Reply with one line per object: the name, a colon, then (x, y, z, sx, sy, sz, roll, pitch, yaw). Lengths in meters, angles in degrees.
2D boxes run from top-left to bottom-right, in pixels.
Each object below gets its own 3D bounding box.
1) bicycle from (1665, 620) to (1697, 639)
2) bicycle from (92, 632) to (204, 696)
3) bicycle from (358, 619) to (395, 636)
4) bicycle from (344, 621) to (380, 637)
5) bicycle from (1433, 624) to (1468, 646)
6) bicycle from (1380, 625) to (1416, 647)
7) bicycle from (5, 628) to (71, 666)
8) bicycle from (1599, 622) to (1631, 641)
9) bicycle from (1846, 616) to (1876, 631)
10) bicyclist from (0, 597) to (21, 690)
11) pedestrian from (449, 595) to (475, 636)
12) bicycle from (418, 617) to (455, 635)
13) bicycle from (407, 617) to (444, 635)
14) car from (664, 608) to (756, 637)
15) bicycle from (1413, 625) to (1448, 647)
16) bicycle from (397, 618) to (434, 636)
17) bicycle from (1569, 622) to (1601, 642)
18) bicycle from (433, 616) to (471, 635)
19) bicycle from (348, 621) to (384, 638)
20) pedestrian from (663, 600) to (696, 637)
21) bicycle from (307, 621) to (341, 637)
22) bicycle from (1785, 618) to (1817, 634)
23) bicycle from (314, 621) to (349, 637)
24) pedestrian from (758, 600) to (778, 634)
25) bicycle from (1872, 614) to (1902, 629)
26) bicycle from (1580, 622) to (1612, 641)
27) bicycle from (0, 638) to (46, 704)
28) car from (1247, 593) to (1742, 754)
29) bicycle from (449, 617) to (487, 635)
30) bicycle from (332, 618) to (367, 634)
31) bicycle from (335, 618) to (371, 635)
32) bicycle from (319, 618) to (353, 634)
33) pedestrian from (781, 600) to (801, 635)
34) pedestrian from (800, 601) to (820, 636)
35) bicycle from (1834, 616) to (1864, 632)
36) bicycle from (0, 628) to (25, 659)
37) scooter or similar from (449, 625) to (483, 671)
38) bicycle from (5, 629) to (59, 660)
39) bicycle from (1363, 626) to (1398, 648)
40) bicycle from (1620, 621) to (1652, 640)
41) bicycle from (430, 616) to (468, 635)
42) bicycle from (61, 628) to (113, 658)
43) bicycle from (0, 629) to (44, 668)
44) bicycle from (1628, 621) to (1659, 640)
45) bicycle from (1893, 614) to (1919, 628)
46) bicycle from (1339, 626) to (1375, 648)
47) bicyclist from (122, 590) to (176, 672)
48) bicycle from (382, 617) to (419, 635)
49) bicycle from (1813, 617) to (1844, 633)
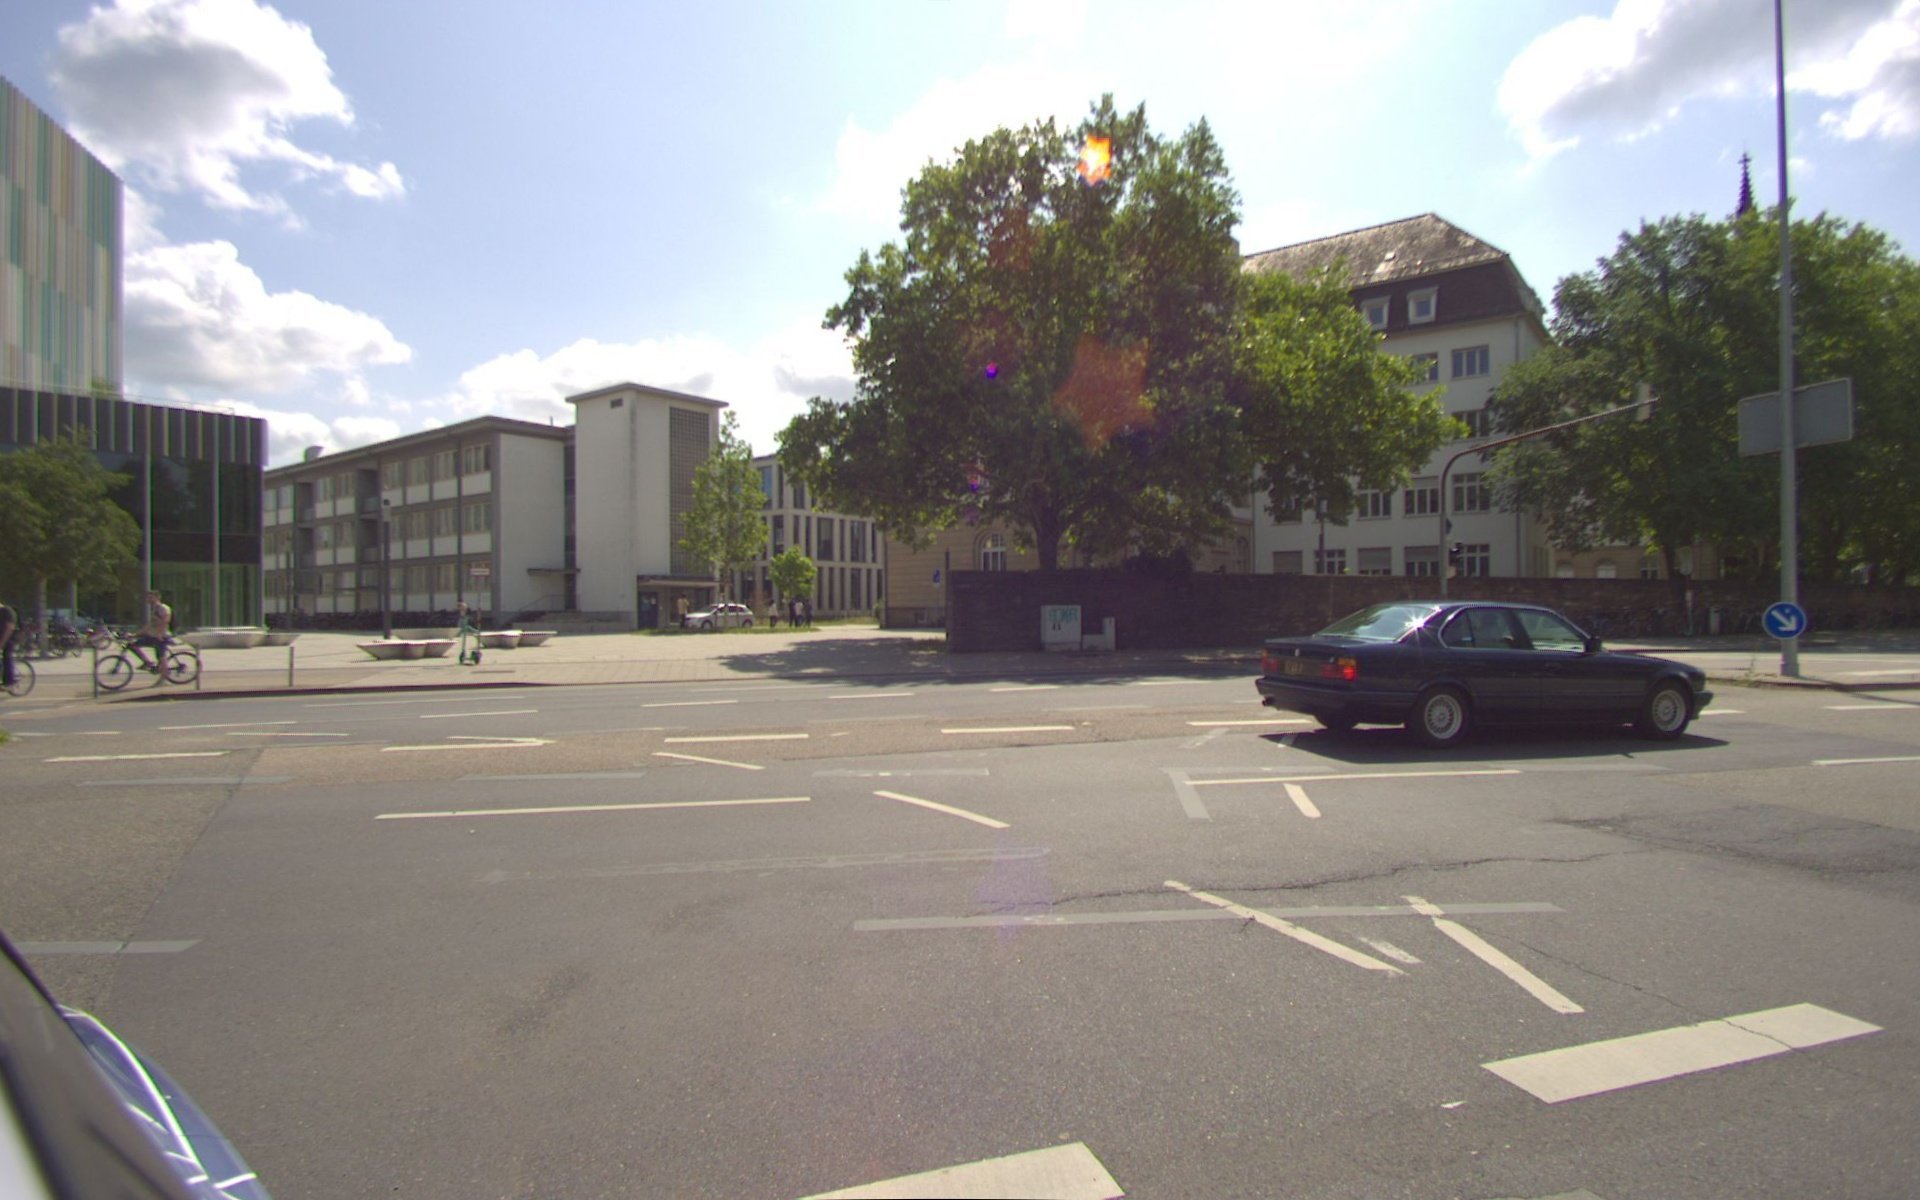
bicycle: (28.704, 1.176, 40.278, 1.004, 0.687, 0.404, 1, 1, 34)
bicycle: (-15.714, 1.206, 19.605, 1.646, 1.133, 0.696, 0, -1, -44)
bicycle: (-34.053, 1.618, 59.080, 0.529, 0.962, 1.748, 1, 1, 43)
bicycle: (-35.732, 1.728, 60.496, 0.529, 0.962, 1.748, 1, 1, 43)
bicycle: (16.923, 1.197, 34.923, 0.403, 0.687, 1.008, 0, 1, -43)
bicycle: (14.635, 1.205, 33.818, 0.403, 0.687, 1.008, 0, 1, -43)
bicycle: (-24.313, 1.221, 26.680, 1.760, 0.962, 0.525, 0, 0, 20)
bicycle: (24.688, 1.179, 38.147, 1.004, 0.687, 0.404, 1, 1, 34)
bicycle: (42.516, 1.101, 47.762, 1.004, 0.687, 0.404, 1, 1, 34)
bicyclist: (-17.199, 0.772, 17.770, 0.657, 1.628, 0.985, -1, -1, 43)
pedestrian: (-22.348, 0.689, 45.412, 0.677, 1.803, 0.832, -1, -1, 42)
bicycle: (-28.804, 1.415, 55.721, 0.529, 0.962, 1.748, 1, 1, 43)
bicycle: (-29.864, 1.438, 56.515, 0.529, 0.962, 1.748, 1, 1, 43)
car: (-13.205, 1.158, 53.683, 1.998, 1.316, 4.435, 1, 1, 39)
bicycle: (15.932, 1.203, 34.264, 0.403, 0.687, 1.008, 0, 1, -43)
bicycle: (-30.760, 1.516, 57.155, 0.529, 0.962, 1.748, 1, 1, 43)
bicycle: (23.196, 1.182, 37.565, 1.004, 0.687, 0.404, 1, 1, 34)
bicycle: (-27.220, 1.346, 54.201, 0.529, 0.962, 1.748, 1, 1, 43)
bicycle: (-35.126, 1.716, 59.836, 0.529, 0.962, 1.748, 1, 1, 43)
pedestrian: (-12.928, 0.827, 46.707, 1.279, 1.663, 1.328, -1, -1, -6)
bicycle: (-40.346, 1.851, 64.242, 0.529, 0.962, 1.748, 1, 1, 43)
bicycle: (36.877, 1.131, 44.388, 1.004, 0.687, 0.404, 1, 1, 34)
bicycle: (-39.388, 1.798, 63.419, 0.529, 0.962, 1.748, 1, 1, 43)
pedestrian: (-10.246, 0.904, 54.035, 0.806, 1.803, 0.840, -1, -1, 13)
bicycle: (45.229, 1.028, 49.400, 1.004, 0.687, 0.404, 1, 1, 34)
bicycle: (23.753, 1.180, 37.821, 1.004, 0.687, 0.404, 1, 1, 34)
bicycle: (-17.185, 1.258, 17.769, 0.695, 1.133, 1.647, -1, -1, 43)
car: (5.448, 0.656, 10.432, 4.536, 1.397, 1.702, -1, 0, -15)
bicycle: (-25.988, 1.367, 53.473, 1.747, 0.962, 0.529, 1, 1, -45)
bicycle: (-37.370, 1.582, 61.947, 0.529, 0.962, 1.748, 1, 1, 43)
bicycle: (-36.883, 1.609, 61.505, 0.529, 0.962, 1.748, 1, 1, 43)
bicycle: (-38.856, 1.626, 63.018, 0.529, 0.962, 1.748, 1, 1, 43)
pedestrian: (-8.948, 0.925, 53.670, 0.880, 1.803, 0.843, -1, -1, 2)
pedestrian: (-7.924, 0.971, 53.450, 0.854, 1.803, 0.843, -1, -1, 3)
bicycle: (41.271, 1.108, 46.998, 1.004, 0.687, 0.404, 1, 1, 34)
bicycle: (-30.662, 1.379, 32.241, 1.760, 0.962, 0.525, 0, 0, 20)
scooter or similar: (-12.026, 1.160, 24.630, 1.152, 1.075, 0.397, -1, -1, 45)
bicycle: (-30.064, 1.431, 32.789, 1.760, 0.962, 0.525, 0, 0, 20)
bicycle: (13.869, 1.208, 33.398, 0.403, 0.687, 1.008, 0, 1, -43)
bicycle: (25.844, 1.175, 38.687, 1.004, 0.687, 0.404, 1, 1, 34)
bicycle: (-27.752, 1.384, 54.946, 0.529, 0.962, 1.748, 1, 1, 43)
bicycle: (-29.204, 1.434, 33.843, 1.760, 0.962, 0.525, 0, 0, 20)
bicycle: (-24.508, 1.235, 26.121, 1.760, 0.962, 0.525, 0, 0, 20)
bicycle: (26.454, 1.162, 39.177, 1.004, 0.687, 0.404, 1, 1, 34)
bicycle: (48.531, 1.060, 51.841, 1.004, 0.687, 0.404, 1, 1, 34)
bicycle: (12.865, 1.196, 32.841, 0.403, 0.687, 1.008, 0, 1, -43)
bicyclist: (-15.703, 0.590, 19.595, 0.774, 1.550, 0.658, 0, -1, -43)
bicycle: (-31.883, 1.475, 57.655, 0.529, 0.962, 1.748, 1, 1, 43)
bicycle: (39.442, 1.117, 45.954, 1.004, 0.687, 0.404, 1, 1, 34)
